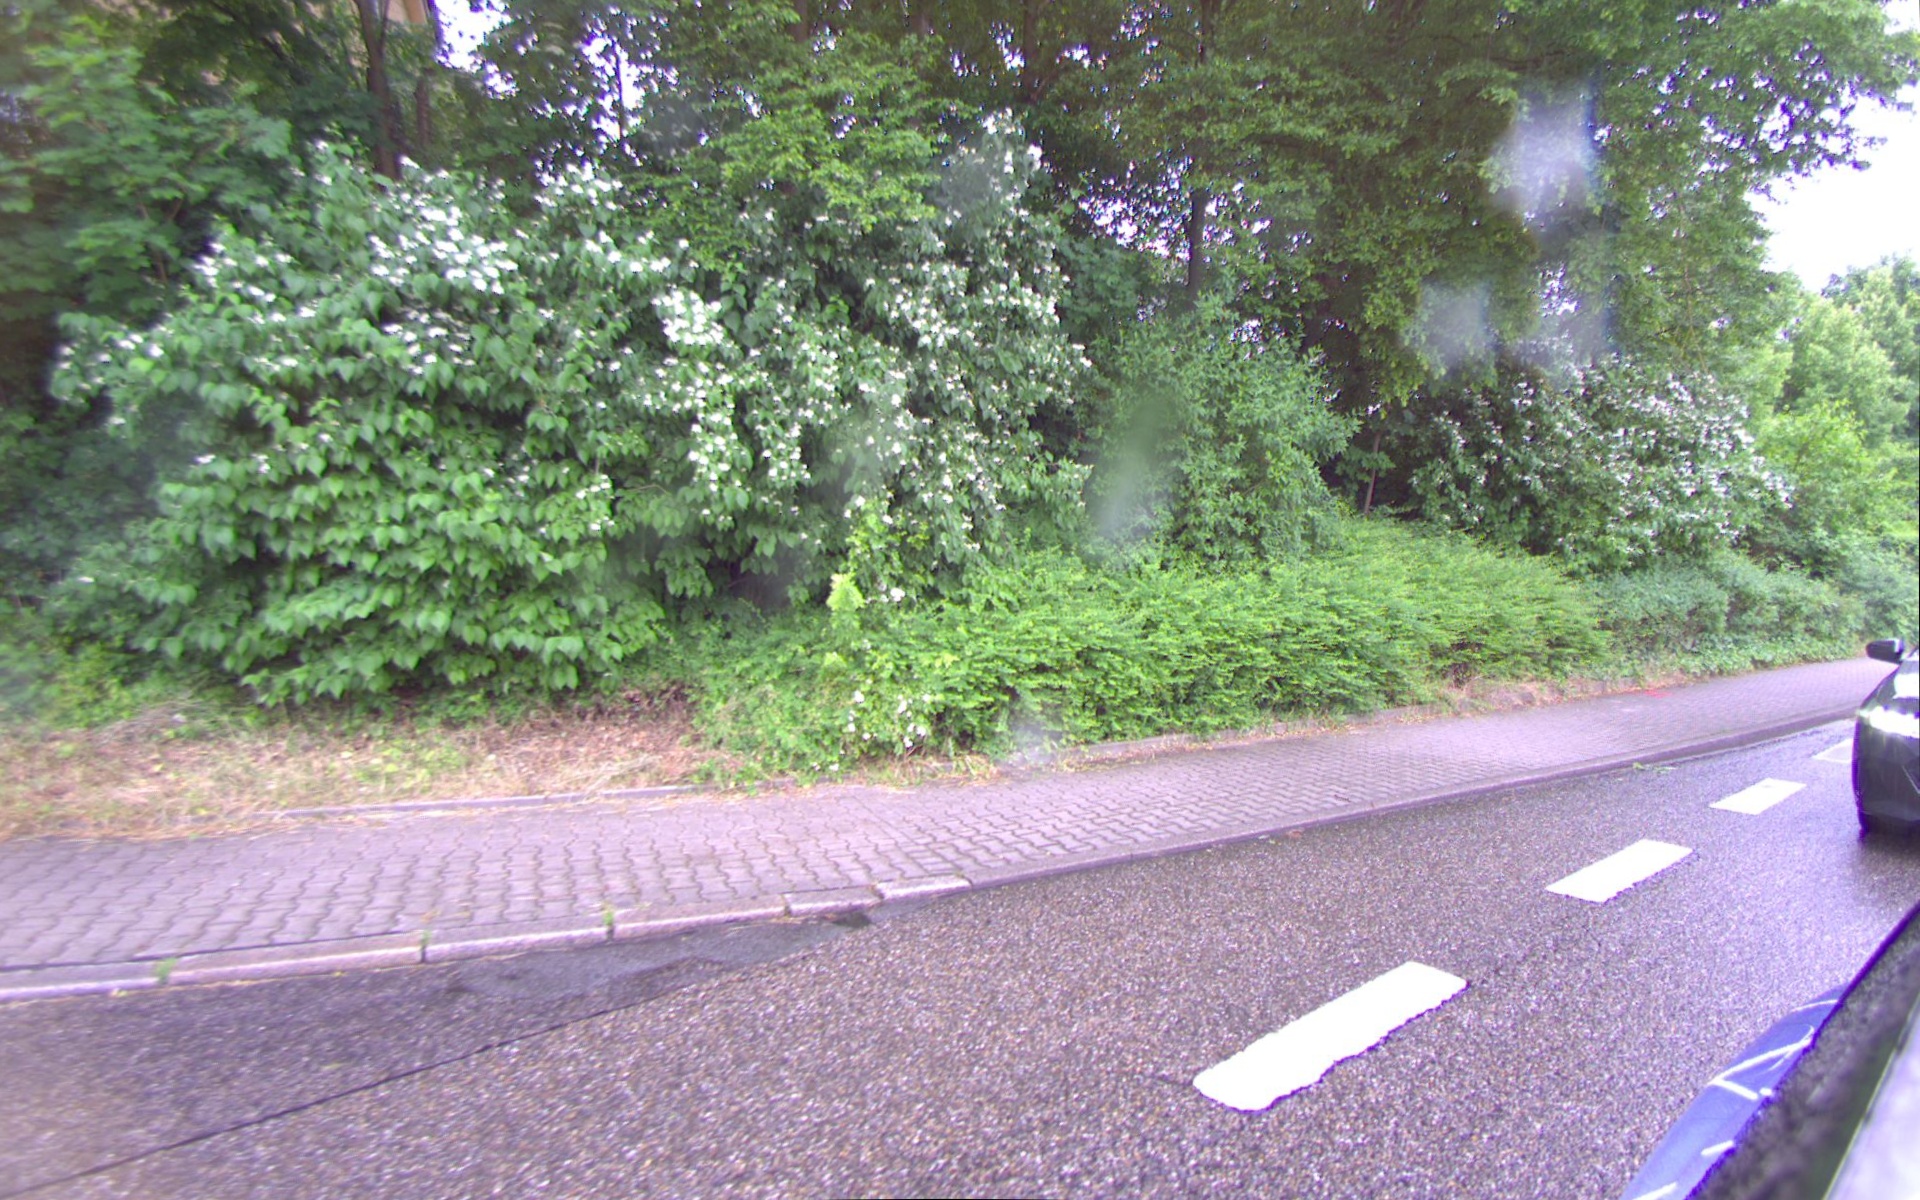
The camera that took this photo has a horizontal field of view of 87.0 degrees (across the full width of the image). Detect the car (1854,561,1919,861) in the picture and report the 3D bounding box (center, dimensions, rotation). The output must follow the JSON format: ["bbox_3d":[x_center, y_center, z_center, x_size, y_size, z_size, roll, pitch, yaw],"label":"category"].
[{"bbox_3d":[7.055,0.566,6.150,4.048,1.574,1.867,-2,4,-41],"label":"car"}]
